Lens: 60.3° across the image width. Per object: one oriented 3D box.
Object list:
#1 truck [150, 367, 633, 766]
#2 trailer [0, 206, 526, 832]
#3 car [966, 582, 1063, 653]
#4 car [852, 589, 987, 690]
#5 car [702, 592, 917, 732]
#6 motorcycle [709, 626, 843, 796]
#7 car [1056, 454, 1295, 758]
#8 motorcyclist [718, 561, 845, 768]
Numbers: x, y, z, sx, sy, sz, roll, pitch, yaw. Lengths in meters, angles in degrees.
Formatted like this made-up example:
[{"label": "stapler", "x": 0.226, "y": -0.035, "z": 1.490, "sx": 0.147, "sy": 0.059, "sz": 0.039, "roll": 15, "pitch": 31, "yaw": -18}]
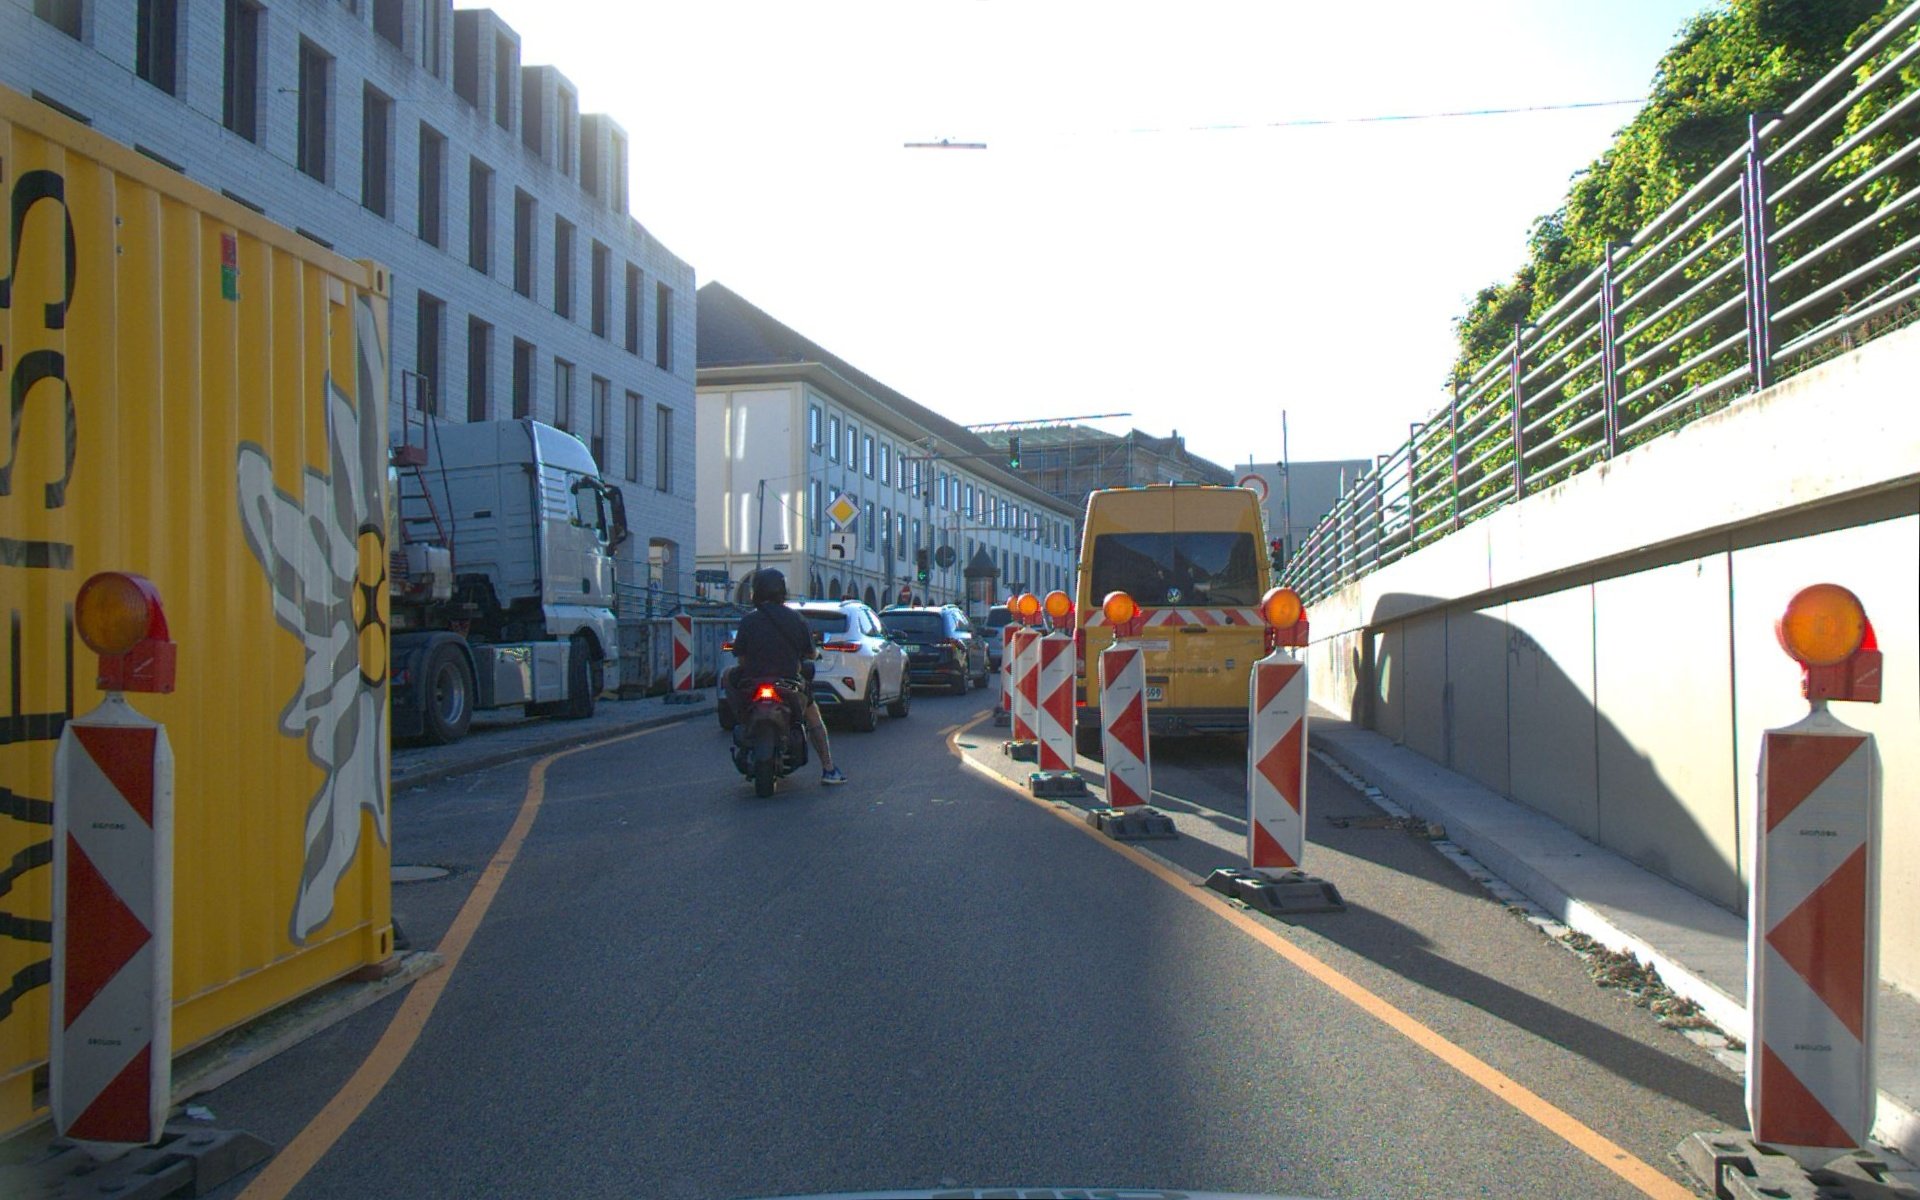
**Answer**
[{"label": "truck", "x": -5.939, "y": -0.288, "z": 18.414, "sx": 2.525, "sy": 3.550, "sz": 5.820, "roll": -4, "pitch": -1, "yaw": 8}, {"label": "trailer", "x": -6.573, "y": -0.390, "z": 13.780, "sx": 2.586, "sy": 3.732, "sz": 8.754, "roll": -4, "pitch": -1, "yaw": 6}, {"label": "car", "x": 1.469, "y": 0.434, "z": 42.579, "sx": 1.765, "sy": 1.751, "sz": 4.166, "roll": 0, "pitch": 0, "yaw": 12}, {"label": "car", "x": -0.613, "y": 0.701, "z": 28.345, "sx": 1.736, "sy": 1.578, "sz": 4.109, "roll": -1, "pitch": -2, "yaw": 7}, {"label": "car", "x": -1.701, "y": 0.673, "z": 20.056, "sx": 1.820, "sy": 1.498, "sz": 4.003, "roll": 1, "pitch": 0, "yaw": 6}, {"label": "motorcycle", "x": -1.437, "y": 0.831, "z": 13.409, "sx": 0.887, "sy": 1.204, "sz": 2.577, "roll": 0, "pitch": 0, "yaw": -2}, {"label": "car", "x": 2.339, "y": 0.088, "z": 18.148, "sx": 2.067, "sy": 2.671, "sz": 6.992, "roll": -1, "pitch": -1, "yaw": 7}, {"label": "motorcyclist", "x": -1.412, "y": 0.490, "z": 13.322, "sx": 0.935, "sy": 1.587, "sz": 1.238, "roll": 0, "pitch": 0, "yaw": -2}]
